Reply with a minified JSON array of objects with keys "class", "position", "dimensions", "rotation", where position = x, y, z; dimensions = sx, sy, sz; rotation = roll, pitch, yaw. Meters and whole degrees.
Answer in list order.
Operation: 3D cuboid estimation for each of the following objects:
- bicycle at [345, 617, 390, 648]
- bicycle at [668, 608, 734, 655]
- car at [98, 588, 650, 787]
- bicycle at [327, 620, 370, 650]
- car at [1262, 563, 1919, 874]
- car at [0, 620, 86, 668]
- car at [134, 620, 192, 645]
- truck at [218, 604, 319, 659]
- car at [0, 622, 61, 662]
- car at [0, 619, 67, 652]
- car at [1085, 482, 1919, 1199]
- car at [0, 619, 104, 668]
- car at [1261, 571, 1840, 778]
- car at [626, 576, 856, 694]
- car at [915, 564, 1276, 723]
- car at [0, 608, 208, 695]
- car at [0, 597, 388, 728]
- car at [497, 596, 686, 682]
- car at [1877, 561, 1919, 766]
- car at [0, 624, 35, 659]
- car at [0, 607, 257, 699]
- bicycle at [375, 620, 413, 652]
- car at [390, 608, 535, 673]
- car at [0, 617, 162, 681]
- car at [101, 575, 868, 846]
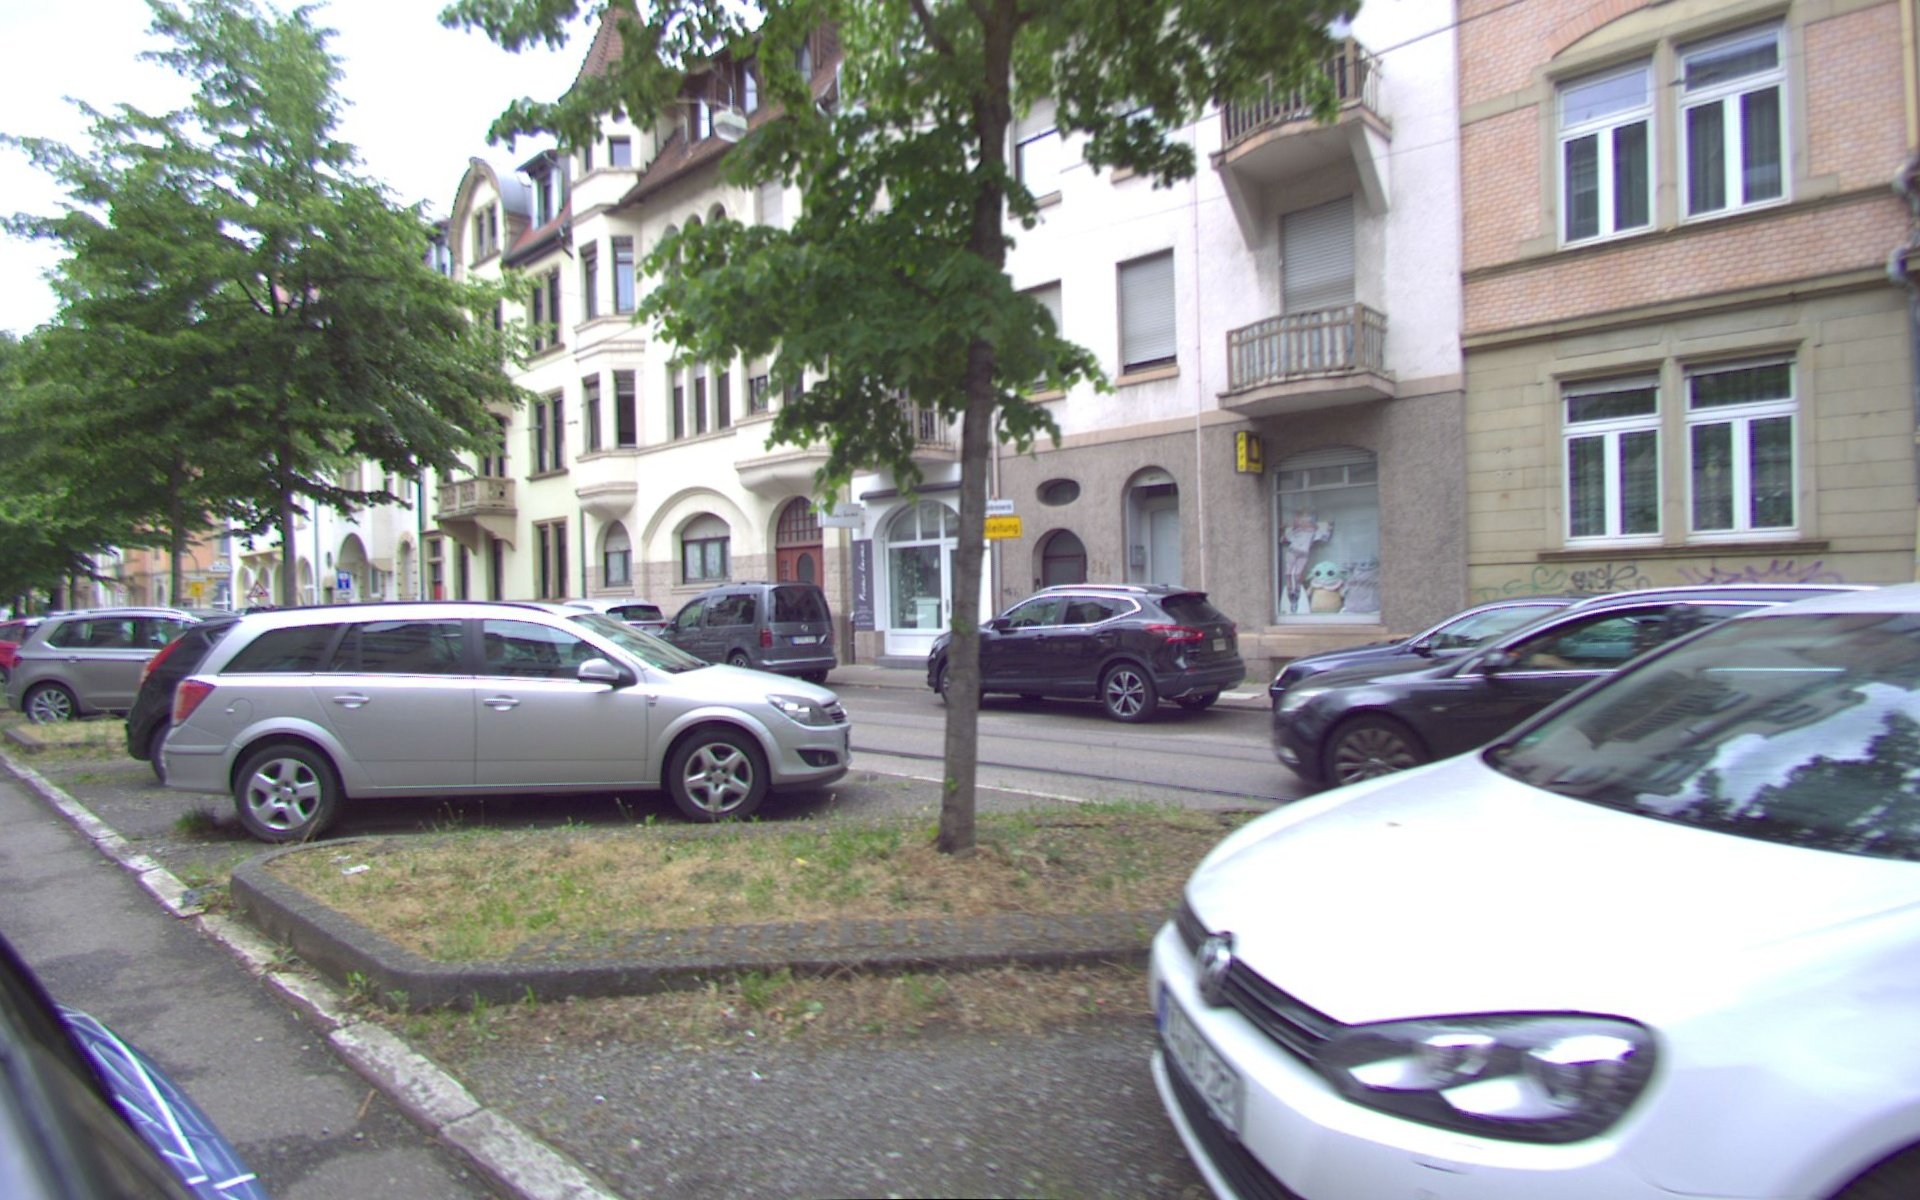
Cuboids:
[{"class":"bicycle","position":[-23.344,1.300,39.846],"dimensions":[1.909,1.135,0.607],"rotation":[-2,2,30]},{"class":"bicycle","position":[-6.318,0.759,24.604],"dimensions":[1.868,1.096,0.647],"rotation":[-2,0,44]},{"class":"car","position":[-5.044,0.707,9.171],"dimensions":[3.941,1.496,1.777],"rotation":[-2,0,-3]},{"class":"bicycle","position":[-24.896,1.442,41.207],"dimensions":[1.909,1.135,0.607],"rotation":[-2,2,30]},{"class":"car","position":[4.397,0.550,6.047],"dimensions":[4.650,1.464,1.786],"rotation":[-1,0,41]},{"class":"car","position":[-31.170,1.451,32.825],"dimensions":[3.940,1.478,1.900],"rotation":[-2,-2,-4]},{"class":"car","position":[-40.081,1.616,50.893],"dimensions":[3.378,1.185,1.618],"rotation":[-1,0,40]},{"class":"truck","position":[-26.369,1.168,38.501],"dimensions":[2.120,1.870,6.067],"rotation":[-2,0,-44]},{"class":"car","position":[-36.637,1.612,37.963],"dimensions":[3.935,1.426,1.902],"rotation":[-2,-2,-10]},{"class":"car","position":[-44.190,1.663,46.843],"dimensions":[3.931,1.426,1.904],"rotation":[-1,-2,-28]},{"class":"car","position":[2.507,0.460,2.236],"dimensions":[4.067,1.322,1.866],"rotation":[-2,1,-5]},{"class":"car","position":[-28.538,1.341,30.633],"dimensions":[3.681,1.399,1.791],"rotation":[-2,-2,-4]},{"class":"car","position":[5.275,0.545,9.434],"dimensions":[4.385,1.501,1.786],"rotation":[-1,0,41]},{"class":"car","position":[-4.065,0.584,18.324],"dimensions":[4.430,1.885,1.831],"rotation":[-2,0,42]},{"class":"car","position":[1.598,0.474,12.886],"dimensions":[4.271,1.692,1.786],"rotation":[-1,0,41]},{"class":"car","position":[-18.156,1.053,20.978],"dimensions":[3.756,1.538,1.677],"rotation":[-3,1,-3]},{"class":"car","position":[-10.538,0.798,14.074],"dimensions":[4.141,1.621,1.728],"rotation":[-1,1,-7]},{"class":"car","position":[-8.060,0.810,21.939],"dimensions":[4.489,1.672,1.832],"rotation":[-2,0,40]},{"class":"car","position":[8.840,0.409,6.552],"dimensions":[4.228,1.449,1.786],"rotation":[-1,0,41]},{"class":"car","position":[-41.729,1.788,42.463],"dimensions":[3.935,1.426,1.902],"rotation":[-2,-2,-10]},{"class":"car","position":[-15.344,0.941,18.785],"dimensions":[3.375,1.538,1.693],"rotation":[-1,1,-6]},{"class":"bicycle","position":[-21.382,1.346,38.218],"dimensions":[1.915,1.135,0.605],"rotation":[-2,3,41]},{"class":"car","position":[-13.076,1.033,26.502],"dimensions":[4.190,1.534,1.832],"rotation":[-2,0,40]},{"class":"car","position":[-23.589,1.266,26.060],"dimensions":[4.540,1.477,1.887],"rotation":[-2,0,-2]},{"class":"car","position":[-2.959,0.654,7.121],"dimensions":[4.498,1.504,1.865],"rotation":[-2,1,-2]}]
